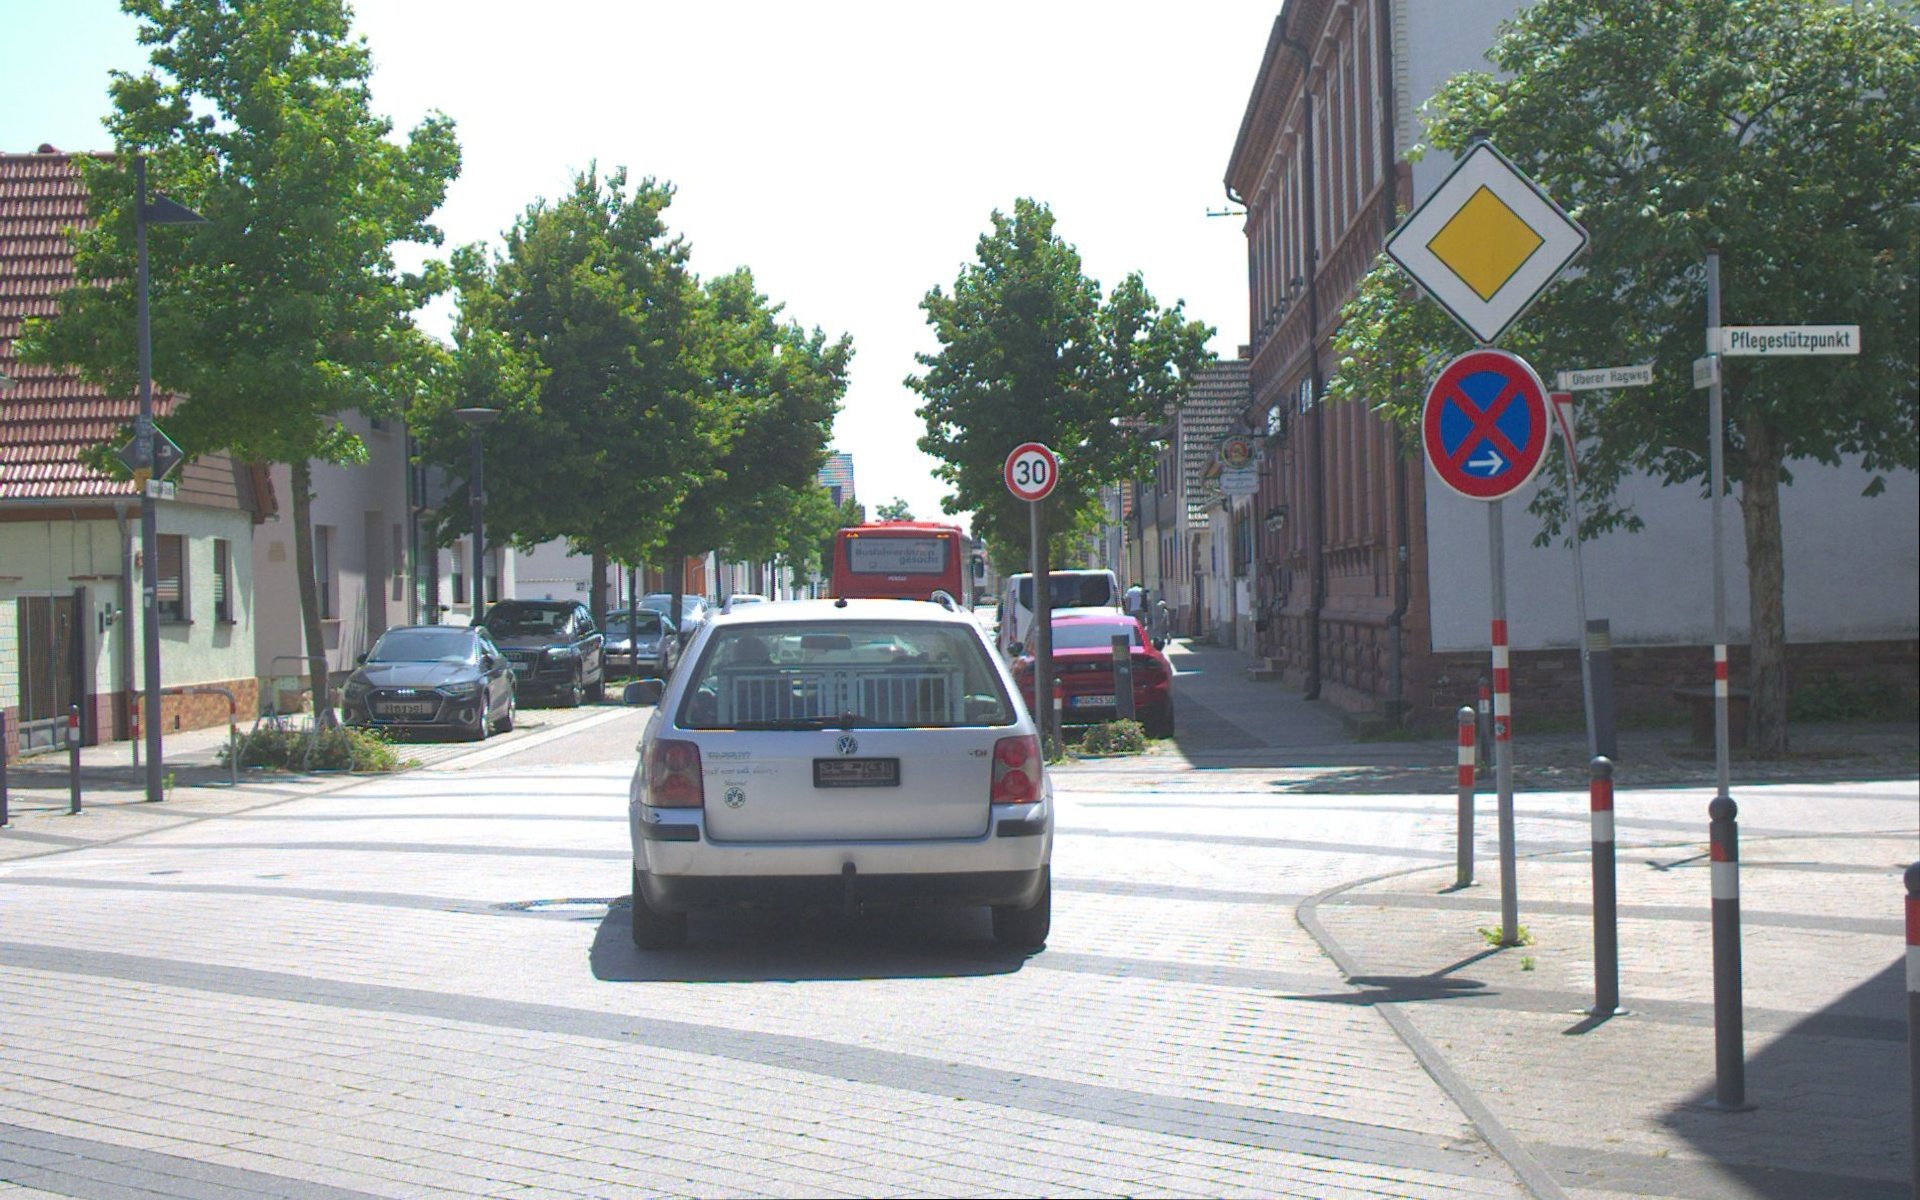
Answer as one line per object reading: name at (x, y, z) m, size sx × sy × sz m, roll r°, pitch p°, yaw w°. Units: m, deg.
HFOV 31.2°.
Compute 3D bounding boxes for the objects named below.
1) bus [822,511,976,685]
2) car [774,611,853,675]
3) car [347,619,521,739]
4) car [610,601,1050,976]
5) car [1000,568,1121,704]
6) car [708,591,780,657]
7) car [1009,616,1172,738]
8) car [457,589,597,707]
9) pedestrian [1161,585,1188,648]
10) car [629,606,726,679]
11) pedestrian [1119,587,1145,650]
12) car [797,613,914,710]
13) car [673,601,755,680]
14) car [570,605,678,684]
bus at (-1.138, -0.004, 72.019) m, size 2.740 × 3.287 × 12.704 m, roll -1°, pitch 0°, yaw 1°
car at (-3.754, 1.082, 88.618) m, size 1.811 × 1.553 × 4.000 m, roll -1°, pitch 0°, yaw 0°
car at (-6.790, 0.987, 44.712) m, size 1.605 × 1.433 × 4.065 m, roll -1°, pitch 0°, yaw 0°
car at (-0.488, 0.722, 15.013) m, size 1.677 × 1.426 × 3.679 m, roll 0°, pitch 0°, yaw 0°
car at (1.575, 0.561, 55.108) m, size 1.788 × 2.075 × 3.626 m, roll -1°, pitch 0°, yaw 0°
car at (-6.089, 0.671, 97.272) m, size 1.720 × 1.796 × 4.000 m, roll -1°, pitch 0°, yaw 0°
car at (1.473, 0.861, 39.905) m, size 1.719 × 1.304 × 3.626 m, roll -1°, pitch 0°, yaw 0°
car at (-7.052, 0.763, 56.326) m, size 1.764 × 1.831 × 3.789 m, roll -1°, pitch 0°, yaw 0°
pedestrian at (5.749, 0.445, 92.117) m, size 0.606 × 1.661 × 0.789 m, roll -1°, pitch 0°, yaw -1°
car at (-6.360, 0.939, 77.769) m, size 1.811 × 1.553 × 4.000 m, roll -1°, pitch 0°, yaw 0°
pedestrian at (4.615, 0.496, 92.508) m, size 0.606 × 1.661 × 0.789 m, roll -1°, pitch 0°, yaw -1°
car at (-1.579, 0.915, 52.803) m, size 1.593 × 1.426 × 3.679 m, roll 0°, pitch 0°, yaw 1°
car at (-6.414, 1.035, 89.960) m, size 1.811 × 1.989 × 4.000 m, roll -1°, pitch 0°, yaw 0°
car at (-6.911, 0.900, 71.041) m, size 1.811 × 1.553 × 4.000 m, roll -1°, pitch 0°, yaw 0°
